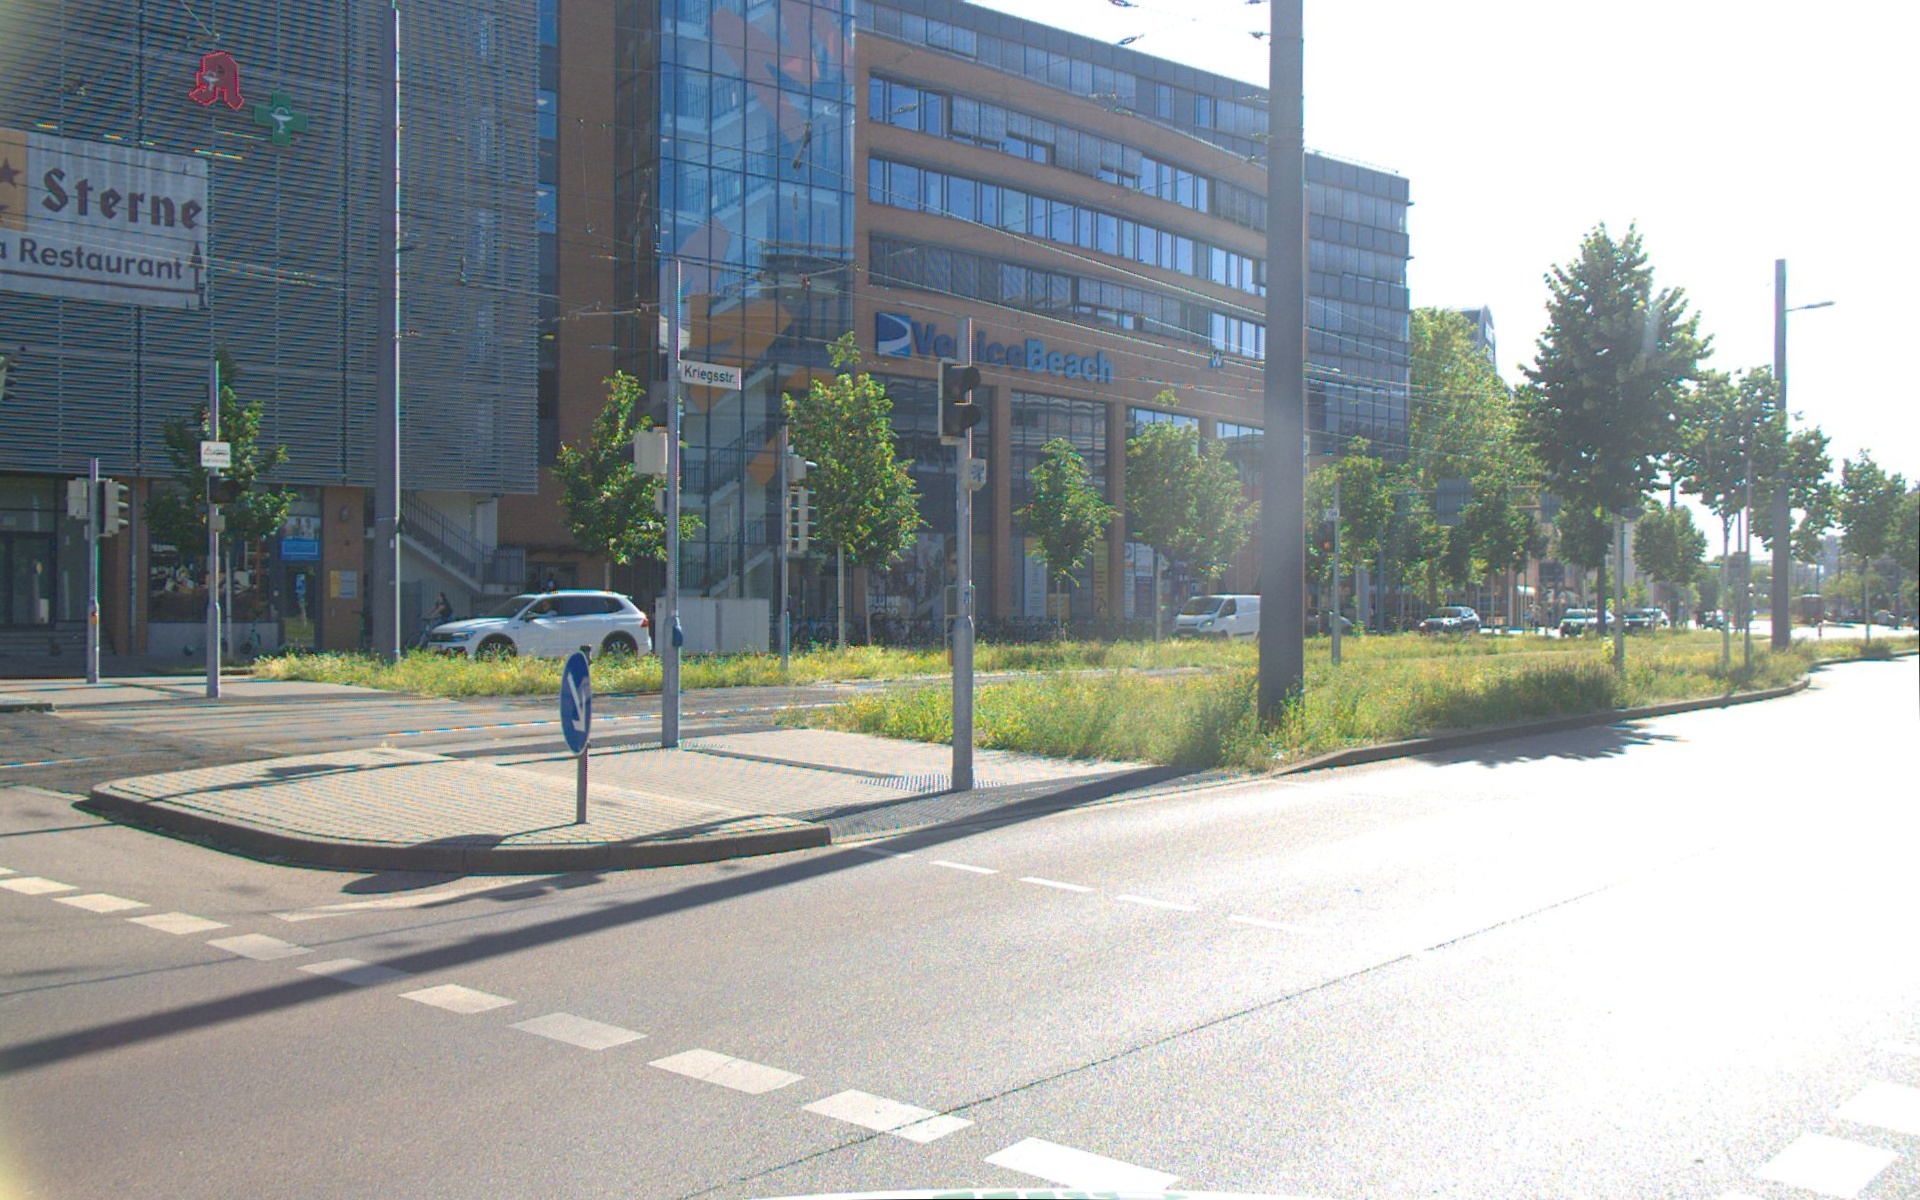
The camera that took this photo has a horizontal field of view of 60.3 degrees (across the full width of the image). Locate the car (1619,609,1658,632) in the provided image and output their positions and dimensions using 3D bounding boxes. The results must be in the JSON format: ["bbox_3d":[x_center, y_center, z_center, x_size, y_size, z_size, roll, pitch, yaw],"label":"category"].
[{"bbox_3d":[42.504,1.263,103.589,1.405,1.383,3.280,0,0,38],"label":"car"}]

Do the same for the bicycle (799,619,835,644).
[{"bbox_3d":[-4.985,1.100,57.596,0.442,0.833,1.428,1,0,-44],"label":"bicycle"}]

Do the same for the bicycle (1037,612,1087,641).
[{"bbox_3d":[4.271,1.106,69.485,0.747,1.143,2.145,1,0,-44],"label":"bicycle"}]

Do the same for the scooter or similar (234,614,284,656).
[{"bbox_3d":[-19.151,0.965,45.188,1.192,1.122,0.273,2,-2,-37],"label":"scooter or similar"}]

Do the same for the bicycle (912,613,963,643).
[{"bbox_3d":[-0.913,1.103,65.395,0.747,1.143,2.145,1,0,-44],"label":"bicycle"}]

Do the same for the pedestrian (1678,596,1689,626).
[{"bbox_3d":[43.925,0.661,100.394,0.451,1.863,0.458,0,-1,-2],"label":"pedestrian"}]

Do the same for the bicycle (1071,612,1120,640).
[{"bbox_3d":[5.799,1.126,71.078,0.747,1.143,2.145,1,0,-44],"label":"bicycle"}]

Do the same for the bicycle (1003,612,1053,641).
[{"bbox_3d":[2.807,1.085,68.428,0.747,1.143,2.145,1,0,-44],"label":"bicycle"}]

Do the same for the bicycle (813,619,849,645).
[{"bbox_3d":[-4.522,1.116,57.882,0.442,0.833,1.428,1,0,-44],"label":"bicycle"}]

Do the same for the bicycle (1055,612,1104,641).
[{"bbox_3d":[5.044,1.108,69.910,0.747,1.143,2.145,1,0,-44],"label":"bicycle"}]

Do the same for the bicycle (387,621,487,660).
[{"bbox_3d":[-14.195,1.075,44.923,2.542,1.028,0.590,0,-1,-38],"label":"bicycle"}]

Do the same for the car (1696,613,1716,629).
[{"bbox_3d":[71.495,1.988,158.501,1.577,1.422,3.917,-4,-1,24],"label":"car"}]

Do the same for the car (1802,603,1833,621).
[{"bbox_3d":[83.707,1.177,161.529,2.215,1.757,3.945,0,0,21],"label":"car"}]

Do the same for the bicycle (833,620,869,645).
[{"bbox_3d":[-3.843,1.127,58.379,0.442,0.833,1.428,1,0,-44],"label":"bicycle"}]

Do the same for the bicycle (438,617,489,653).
[{"bbox_3d":[-14.459,0.998,48.115,0.489,0.971,2.145,1,0,-44],"label":"bicycle"}]

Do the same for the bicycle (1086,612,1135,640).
[{"bbox_3d":[6.516,1.108,71.793,0.747,1.143,2.145,1,0,-44],"label":"bicycle"}]

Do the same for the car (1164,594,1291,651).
[{"bbox_3d":[9.963,0.813,61.297,2.188,2.049,5.224,0,0,42],"label":"car"}]

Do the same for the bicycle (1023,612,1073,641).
[{"bbox_3d":[3.675,1.081,68.958,0.747,1.143,2.145,1,0,-44],"label":"bicycle"}]

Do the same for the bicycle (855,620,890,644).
[{"bbox_3d":[-3.136,1.139,59.142,0.442,0.833,1.428,1,0,-44],"label":"bicycle"}]

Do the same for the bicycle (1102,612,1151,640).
[{"bbox_3d":[7.266,1.142,72.360,0.747,1.143,2.145,1,0,-44],"label":"bicycle"}]

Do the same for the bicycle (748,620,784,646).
[{"bbox_3d":[-6.574,1.115,56.087,0.442,0.833,1.428,1,0,-44],"label":"bicycle"}]

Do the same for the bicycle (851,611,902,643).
[{"bbox_3d":[-3.220,1.038,63.693,0.747,1.143,2.145,1,0,-44],"label":"bicycle"}]

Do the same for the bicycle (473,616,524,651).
[{"bbox_3d":[-13.677,0.985,48.993,0.489,0.971,2.145,1,0,-44],"label":"bicycle"}]

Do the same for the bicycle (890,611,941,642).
[{"bbox_3d":[-1.765,1.030,64.963,0.747,1.143,2.145,1,0,-44],"label":"bicycle"}]

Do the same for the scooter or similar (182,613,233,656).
[{"bbox_3d":[-20.114,0.921,44.206,1.192,1.122,0.273,2,-2,-37],"label":"scooter or similar"}]

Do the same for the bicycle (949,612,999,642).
[{"bbox_3d":[0.550,1.081,66.531,0.747,1.143,2.145,1,0,-44],"label":"bicycle"}]

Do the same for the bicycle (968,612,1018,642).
[{"bbox_3d":[1.333,1.084,67.157,0.747,1.143,2.145,1,0,-44],"label":"bicycle"}]

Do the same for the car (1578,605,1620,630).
[{"bbox_3d":[35.105,0.954,90.769,1.953,1.357,4.788,0,0,23],"label":"car"}]

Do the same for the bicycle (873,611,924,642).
[{"bbox_3d":[-2.405,1.029,64.377,0.747,1.143,2.145,1,0,-44],"label":"bicycle"}]

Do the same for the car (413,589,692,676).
[{"bbox_3d":[-8.414,0.656,34.544,5.499,1.681,1.786,1,-1,-42],"label":"car"}]

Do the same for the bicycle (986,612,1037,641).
[{"bbox_3d":[2.105,1.076,67.842,0.747,1.143,2.145,1,0,-44],"label":"bicycle"}]

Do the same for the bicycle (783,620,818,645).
[{"bbox_3d":[-5.521,1.112,57.227,0.442,0.833,1.428,1,0,-44],"label":"bicycle"}]

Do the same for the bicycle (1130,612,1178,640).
[{"bbox_3d":[8.608,1.149,73.570,0.747,1.143,2.145,1,0,-44],"label":"bicycle"}]

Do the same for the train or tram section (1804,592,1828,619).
[{"bbox_3d":[100.059,0.682,193.480,2.281,3.056,13.145,0,0,26],"label":"train or tram section"}]

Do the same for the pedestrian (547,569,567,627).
[{"bbox_3d":[-13.605,-0.064,55.882,0.534,1.948,0.370,2,-2,-31],"label":"pedestrian"}]

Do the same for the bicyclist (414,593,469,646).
[{"bbox_3d":[-14.097,0.521,44.995,1.299,1.432,0.586,1,-1,-38],"label":"bicyclist"}]

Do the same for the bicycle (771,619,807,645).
[{"bbox_3d":[-5.872,1.094,56.727,0.442,0.833,1.428,1,0,-44],"label":"bicycle"}]

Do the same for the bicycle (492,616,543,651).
[{"bbox_3d":[-13.228,1.004,49.397,0.489,0.971,2.145,1,0,-44],"label":"bicycle"}]
